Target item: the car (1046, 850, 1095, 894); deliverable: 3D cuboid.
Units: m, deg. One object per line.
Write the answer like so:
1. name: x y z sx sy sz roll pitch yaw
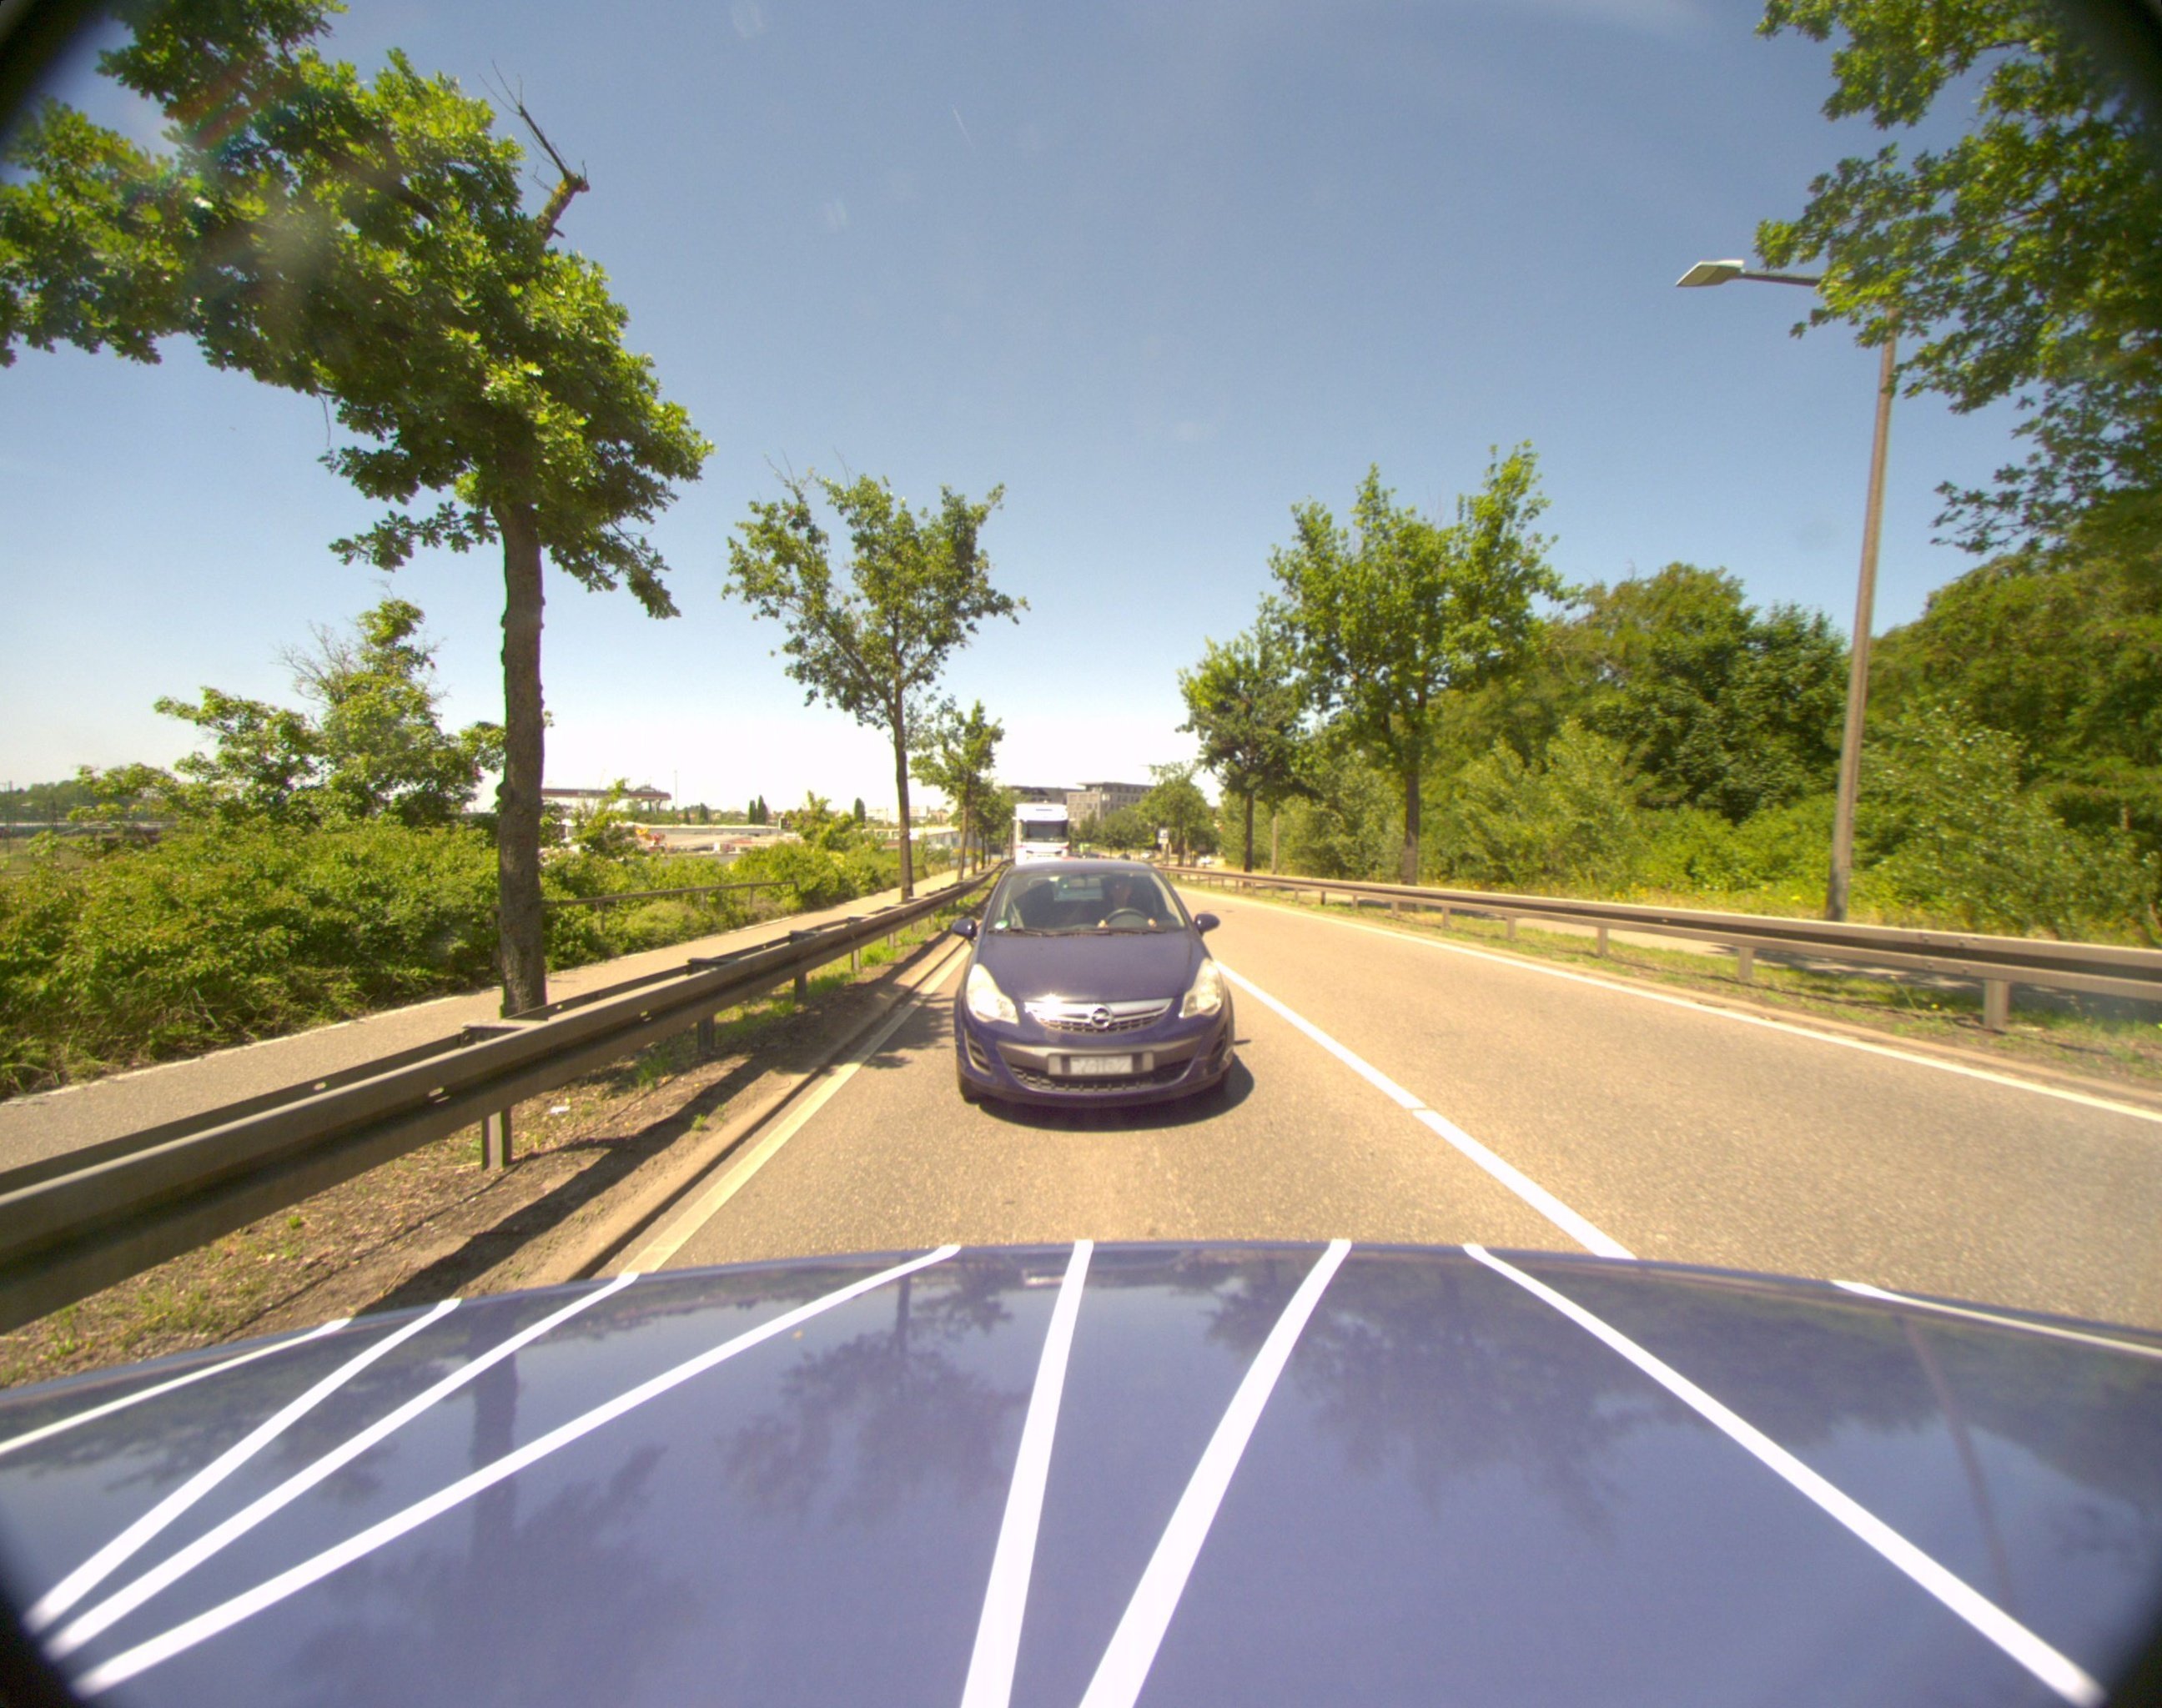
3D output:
1. car: -0.475 0.651 30.618 1.780 1.569 3.998 -2 1 -2

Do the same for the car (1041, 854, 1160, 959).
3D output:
1. car: 0.244 0.808 13.552 1.780 1.498 3.895 -2 1 -2

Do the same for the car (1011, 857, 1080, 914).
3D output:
1. car: -1.061 0.841 22.074 1.781 1.398 3.998 -2 1 -4

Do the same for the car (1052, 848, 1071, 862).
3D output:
1. car: -2.244 0.092 88.127 1.742 1.609 4.000 -2 1 4

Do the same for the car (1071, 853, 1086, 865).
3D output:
1. car: -0.377 0.745 114.588 1.779 1.657 4.002 -2 1 8

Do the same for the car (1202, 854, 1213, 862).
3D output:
1. car: 25.248 0.749 151.653 1.778 1.435 4.003 -2 1 14

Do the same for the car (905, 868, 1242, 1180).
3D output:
1. car: -0.083 0.927 5.897 1.720 1.455 3.836 -2 1 -2

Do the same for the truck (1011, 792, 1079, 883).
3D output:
1. truck: -2.432 -0.876 44.070 3.072 4.146 16.901 -2 1 -5

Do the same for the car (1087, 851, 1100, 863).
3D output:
1. car: 2.156 0.460 129.620 1.779 2.002 4.002 -2 1 8
